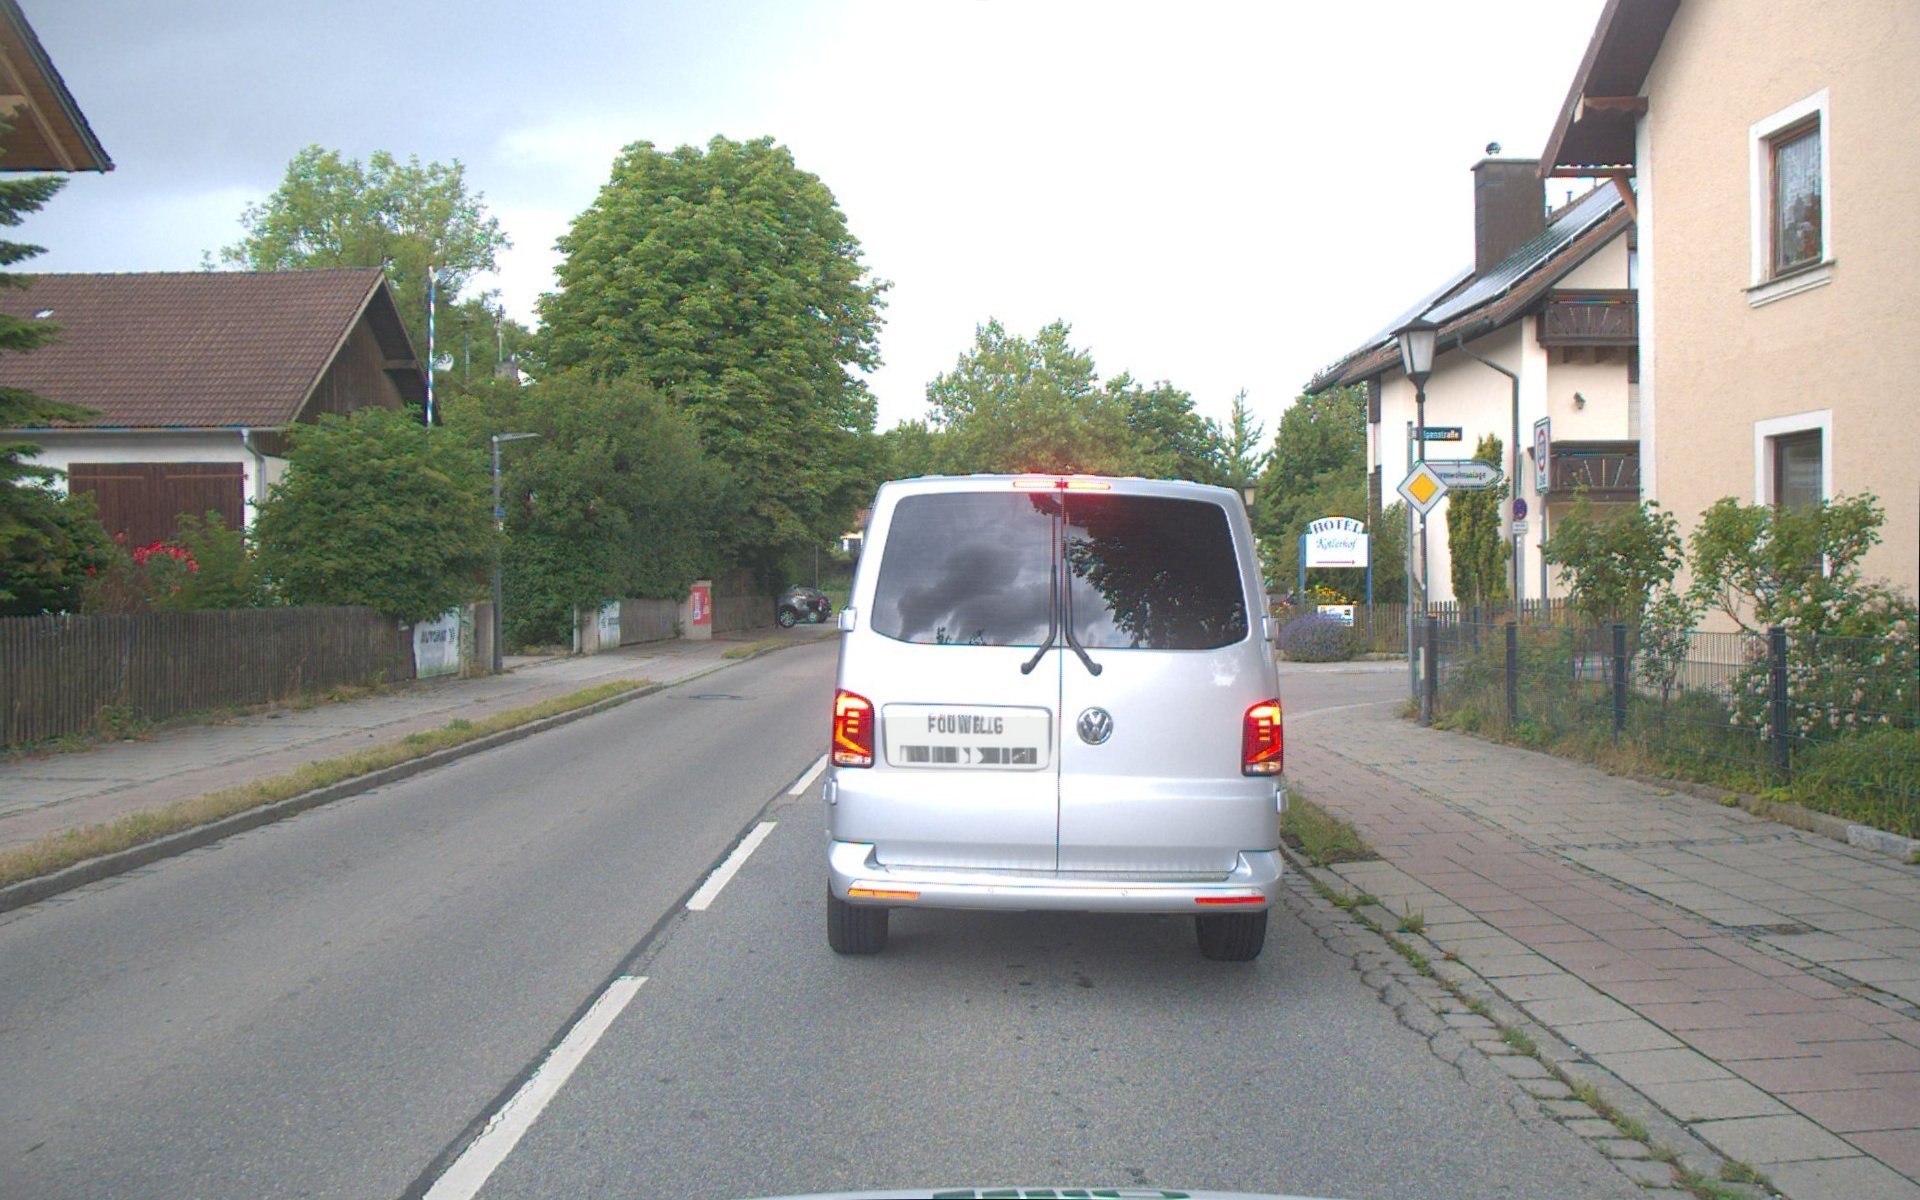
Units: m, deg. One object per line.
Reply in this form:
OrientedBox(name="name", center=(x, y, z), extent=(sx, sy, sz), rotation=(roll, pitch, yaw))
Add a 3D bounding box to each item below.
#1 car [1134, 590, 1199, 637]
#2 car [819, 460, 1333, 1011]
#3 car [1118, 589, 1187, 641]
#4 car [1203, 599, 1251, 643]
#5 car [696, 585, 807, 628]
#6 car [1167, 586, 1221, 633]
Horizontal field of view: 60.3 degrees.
OrientedBox(name="car", center=(7.252, 0.445, 57.841), extent=(1.841, 1.562, 3.924), rotation=(0, 0, 13))
OrientedBox(name="car", center=(0.425, 0.476, 7.921), extent=(1.842, 1.974, 3.920), rotation=(0, 0, 0))
OrientedBox(name="car", center=(6.108, 0.449, 52.118), extent=(1.841, 1.562, 3.924), rotation=(0, 0, 11))
OrientedBox(name="car", center=(11.899, 0.911, 73.557), extent=(1.841, 1.857, 3.924), rotation=(0, 0, 13))
OrientedBox(name="car", center=(-7.517, 0.222, 59.620), extent=(3.913, 1.512, 1.996), rotation=(0, 0, -9))
OrientedBox(name="car", center=(9.304, 0.359, 65.512), extent=(1.841, 1.779, 4.084), rotation=(0, 0, 12))
